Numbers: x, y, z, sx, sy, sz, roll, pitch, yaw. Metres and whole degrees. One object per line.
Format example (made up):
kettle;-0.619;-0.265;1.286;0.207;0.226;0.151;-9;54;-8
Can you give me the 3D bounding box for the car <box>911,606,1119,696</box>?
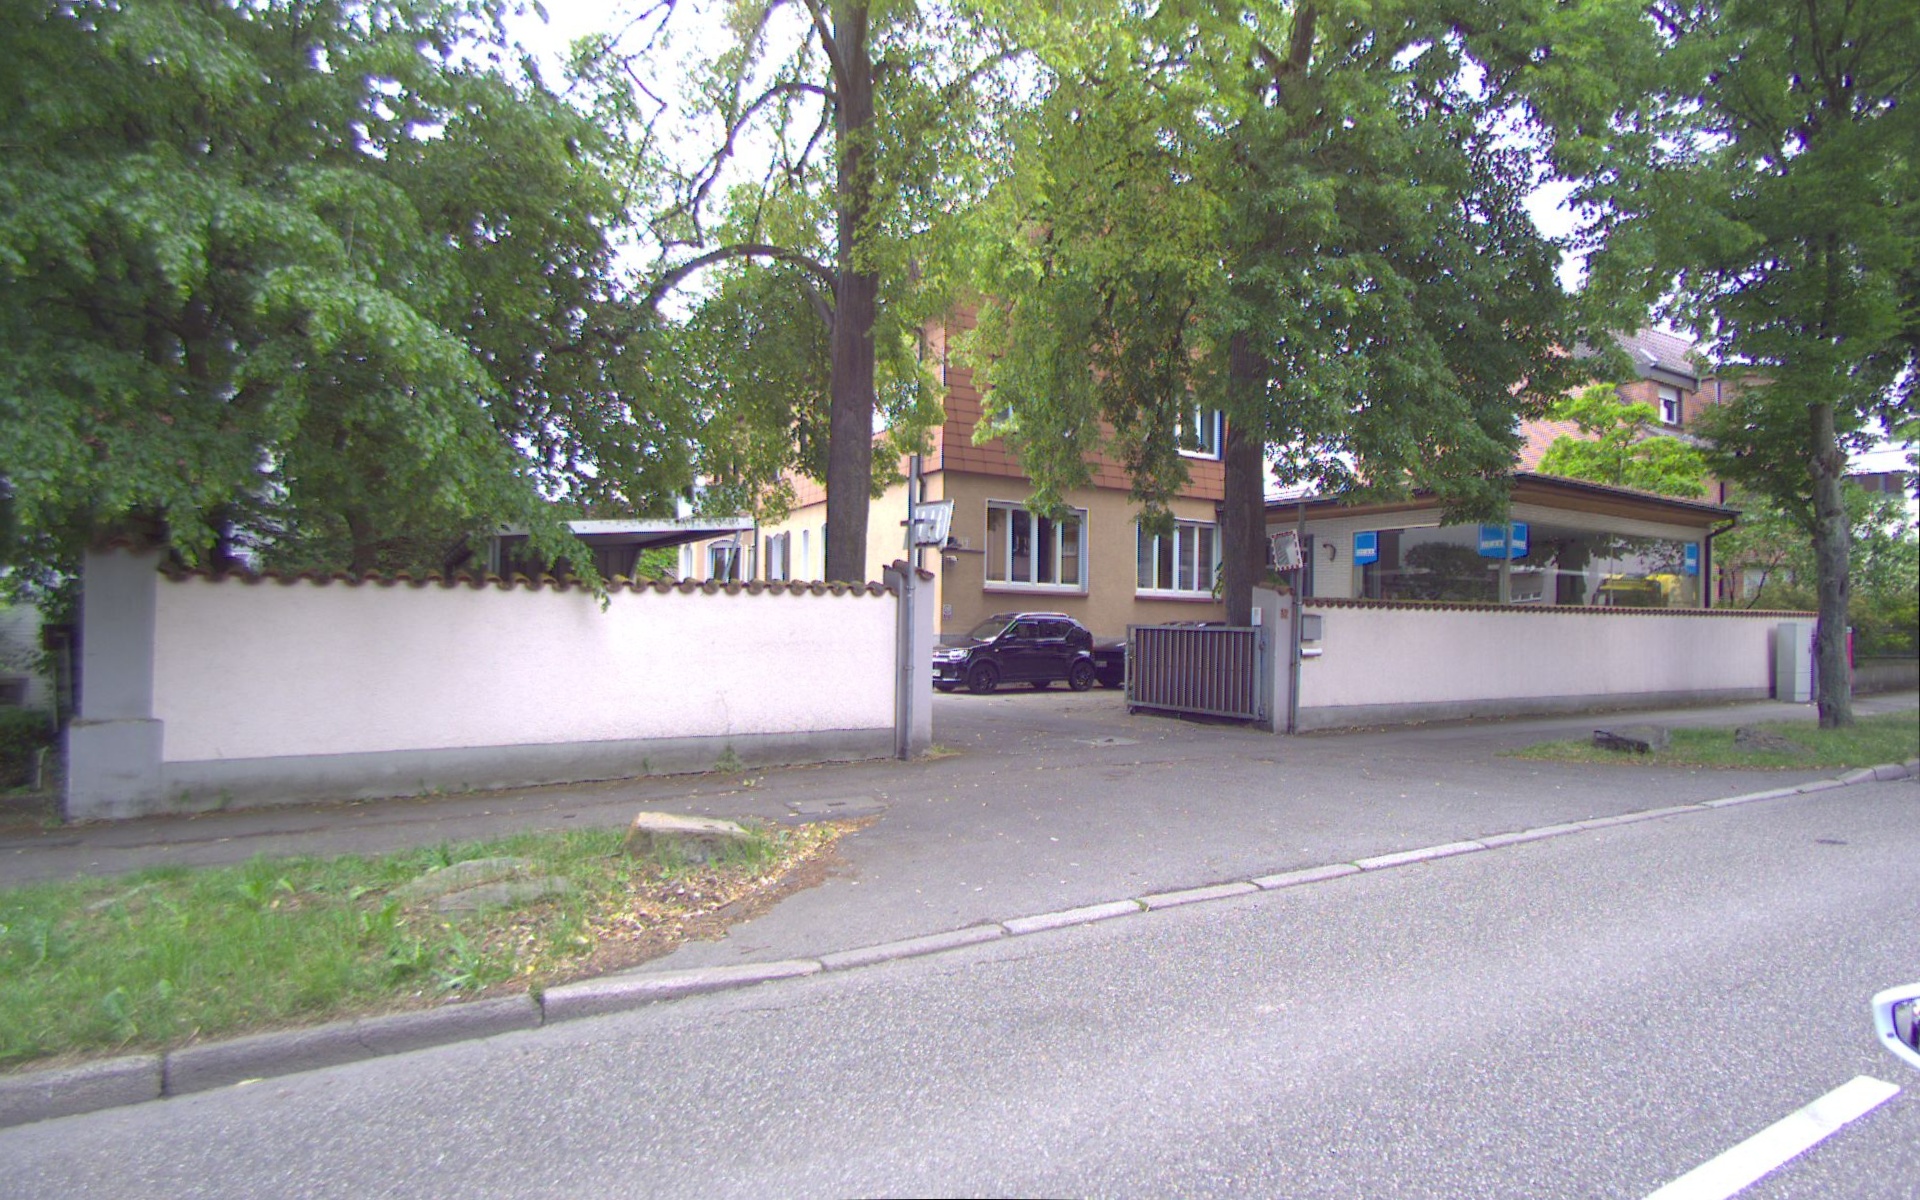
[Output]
car;1.156;1.017;20.622;3.955;1.662;1.771;2;-1;-31
